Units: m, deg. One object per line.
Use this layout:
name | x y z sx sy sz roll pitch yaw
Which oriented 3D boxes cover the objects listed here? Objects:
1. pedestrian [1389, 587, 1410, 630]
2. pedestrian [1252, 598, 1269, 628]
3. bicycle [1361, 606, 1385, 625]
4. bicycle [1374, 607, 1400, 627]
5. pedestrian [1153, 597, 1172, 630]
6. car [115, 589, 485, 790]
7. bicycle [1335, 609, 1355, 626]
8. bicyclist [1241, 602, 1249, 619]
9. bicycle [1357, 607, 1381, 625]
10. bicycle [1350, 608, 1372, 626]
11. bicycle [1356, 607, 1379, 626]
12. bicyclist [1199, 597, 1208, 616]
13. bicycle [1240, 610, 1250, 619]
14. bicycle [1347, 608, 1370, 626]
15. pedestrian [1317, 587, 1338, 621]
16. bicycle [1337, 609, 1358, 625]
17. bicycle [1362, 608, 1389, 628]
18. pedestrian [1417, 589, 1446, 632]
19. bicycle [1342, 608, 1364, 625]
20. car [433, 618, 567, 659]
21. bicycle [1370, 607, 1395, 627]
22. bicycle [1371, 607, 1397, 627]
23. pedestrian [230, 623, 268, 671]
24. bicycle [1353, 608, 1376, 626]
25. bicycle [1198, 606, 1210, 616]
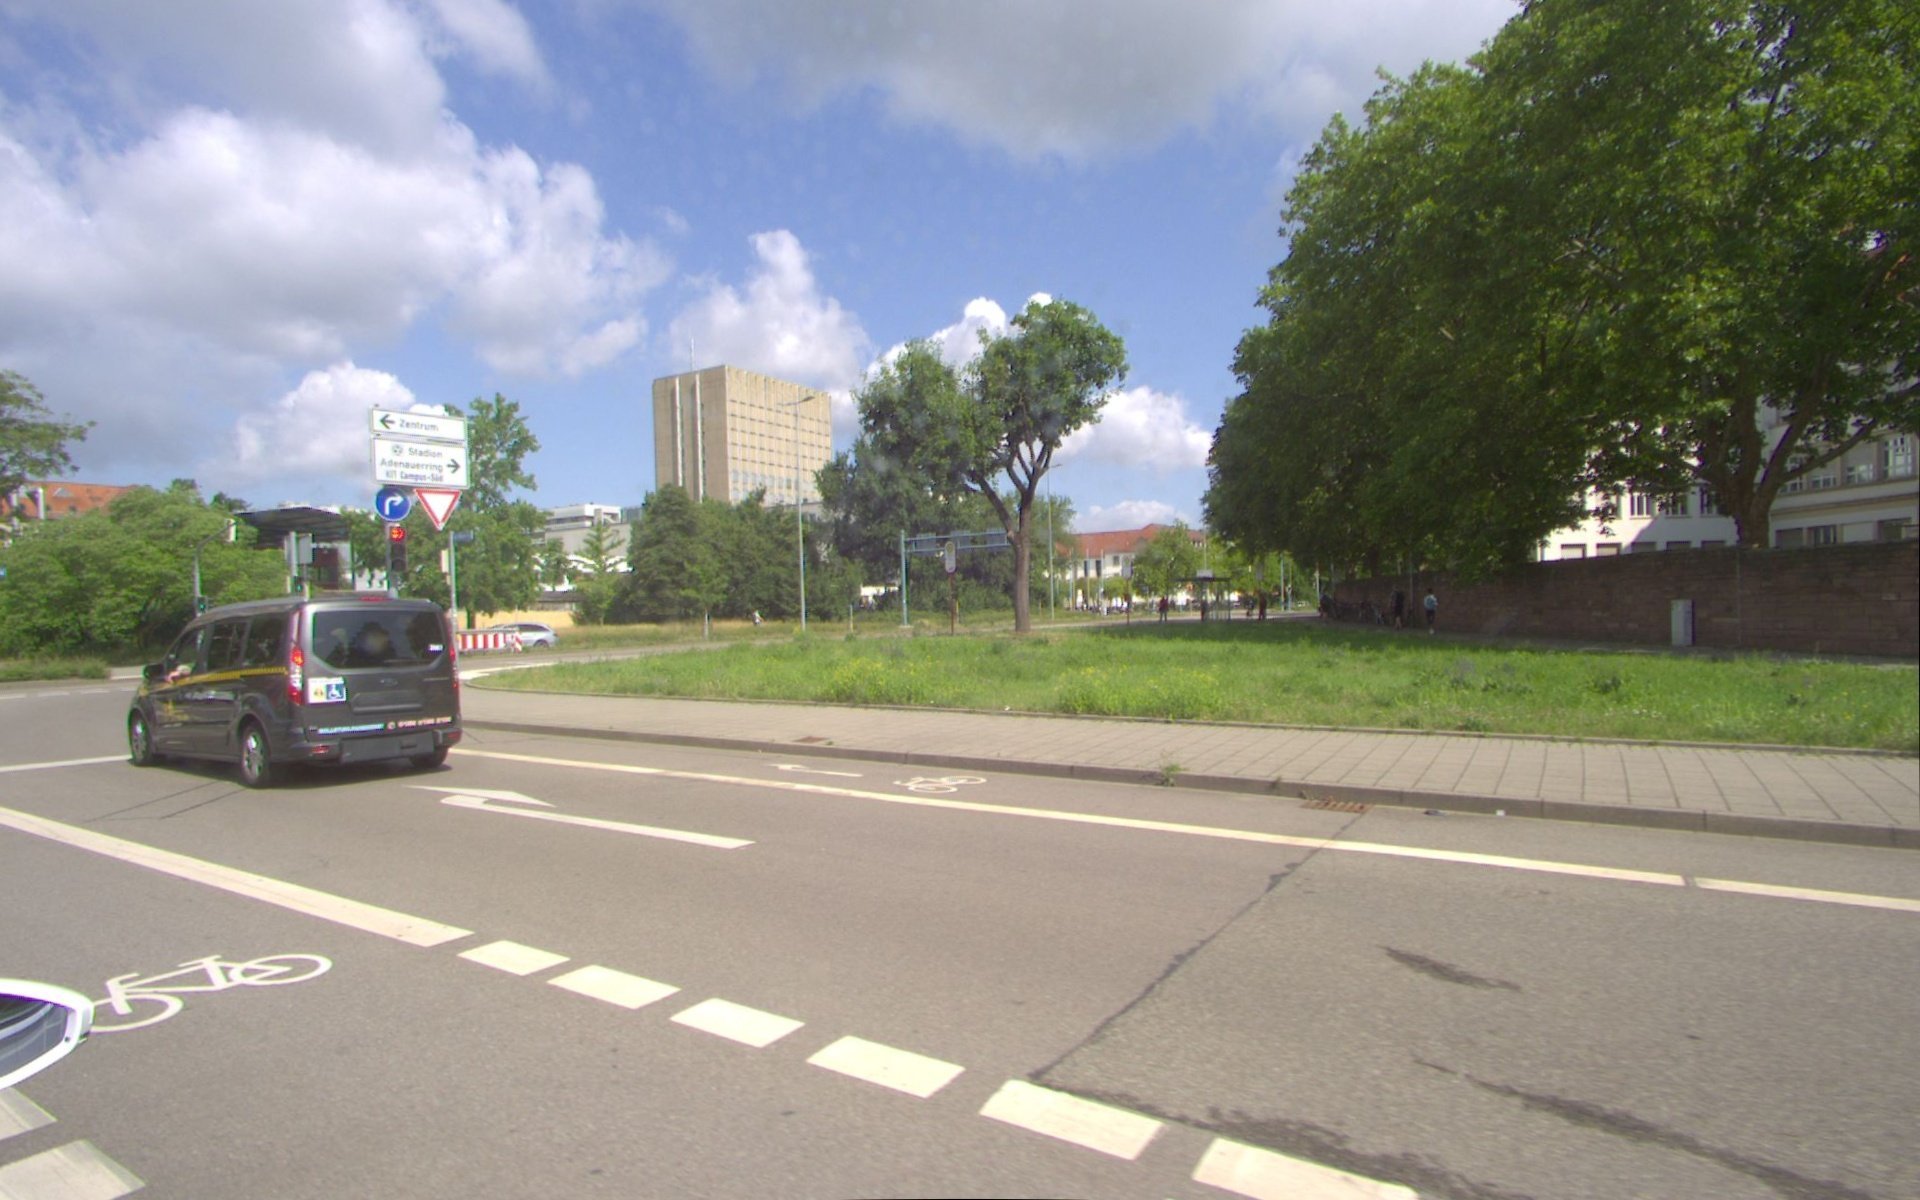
pedestrian | 17.906 0.340 40.819 0.651 1.746 0.742 -1 1 14
pedestrian | 18.478 0.768 61.531 0.739 1.803 0.766 -2 0 33
bicycle | 19.306 0.732 46.798 0.955 0.860 0.482 -1 1 11
bicycle | 18.630 0.743 43.667 0.955 0.860 0.482 -1 1 11
pedestrian | 11.441 0.776 56.636 0.739 1.803 0.960 -2 0 32
car | -7.417 0.863 11.096 4.608 1.808 1.844 -1 -1 35
bicycle | 20.521 0.916 53.373 0.955 0.860 0.482 -1 1 11
bicyclist | 24.415 0.869 85.781 0.552 1.433 0.604 -1 1 28
bicycle | 19.400 0.759 47.531 0.955 0.860 0.482 -1 1 11
bicycle | 19.779 0.833 49.388 0.955 0.860 0.482 -1 1 11
bicycle | 19.560 0.781 48.075 0.955 0.860 0.482 -1 1 11
bicyclist | 18.611 0.470 76.501 0.552 1.433 0.604 -1 1 28
bicycle | 24.397 1.225 85.735 0.541 0.707 1.584 -1 0 28
bicycle | 19.864 0.853 49.937 0.955 0.860 0.482 -1 1 11
pedestrian | 19.770 0.235 53.858 0.870 1.804 0.770 -1 1 9
bicycle | 20.440 0.895 52.799 0.955 0.860 0.482 -1 1 11
bicycle | 19.073 0.824 46.002 1.053 0.860 0.499 -1 1 11
pedestrian | 17.267 0.388 36.663 0.712 1.554 0.724 -2 0 7
bicycle | 20.117 0.837 51.272 0.955 0.860 0.482 -1 1 11
car | -19.478 1.611 42.554 2.037 1.460 4.747 -4 -2 37
bicycle | 18.924 0.766 44.846 0.955 0.860 0.482 -1 1 11
bicycle | 18.738 0.745 44.295 0.955 0.860 0.482 -1 1 11
pedestrian | -28.614 1.895 40.282 1.161 1.881 0.697 -3 -1 22
bicycle | 19.673 0.807 48.745 0.955 0.860 0.482 -1 1 11
bicycle | 18.607 0.826 76.470 0.541 0.707 1.584 -1 0 27
